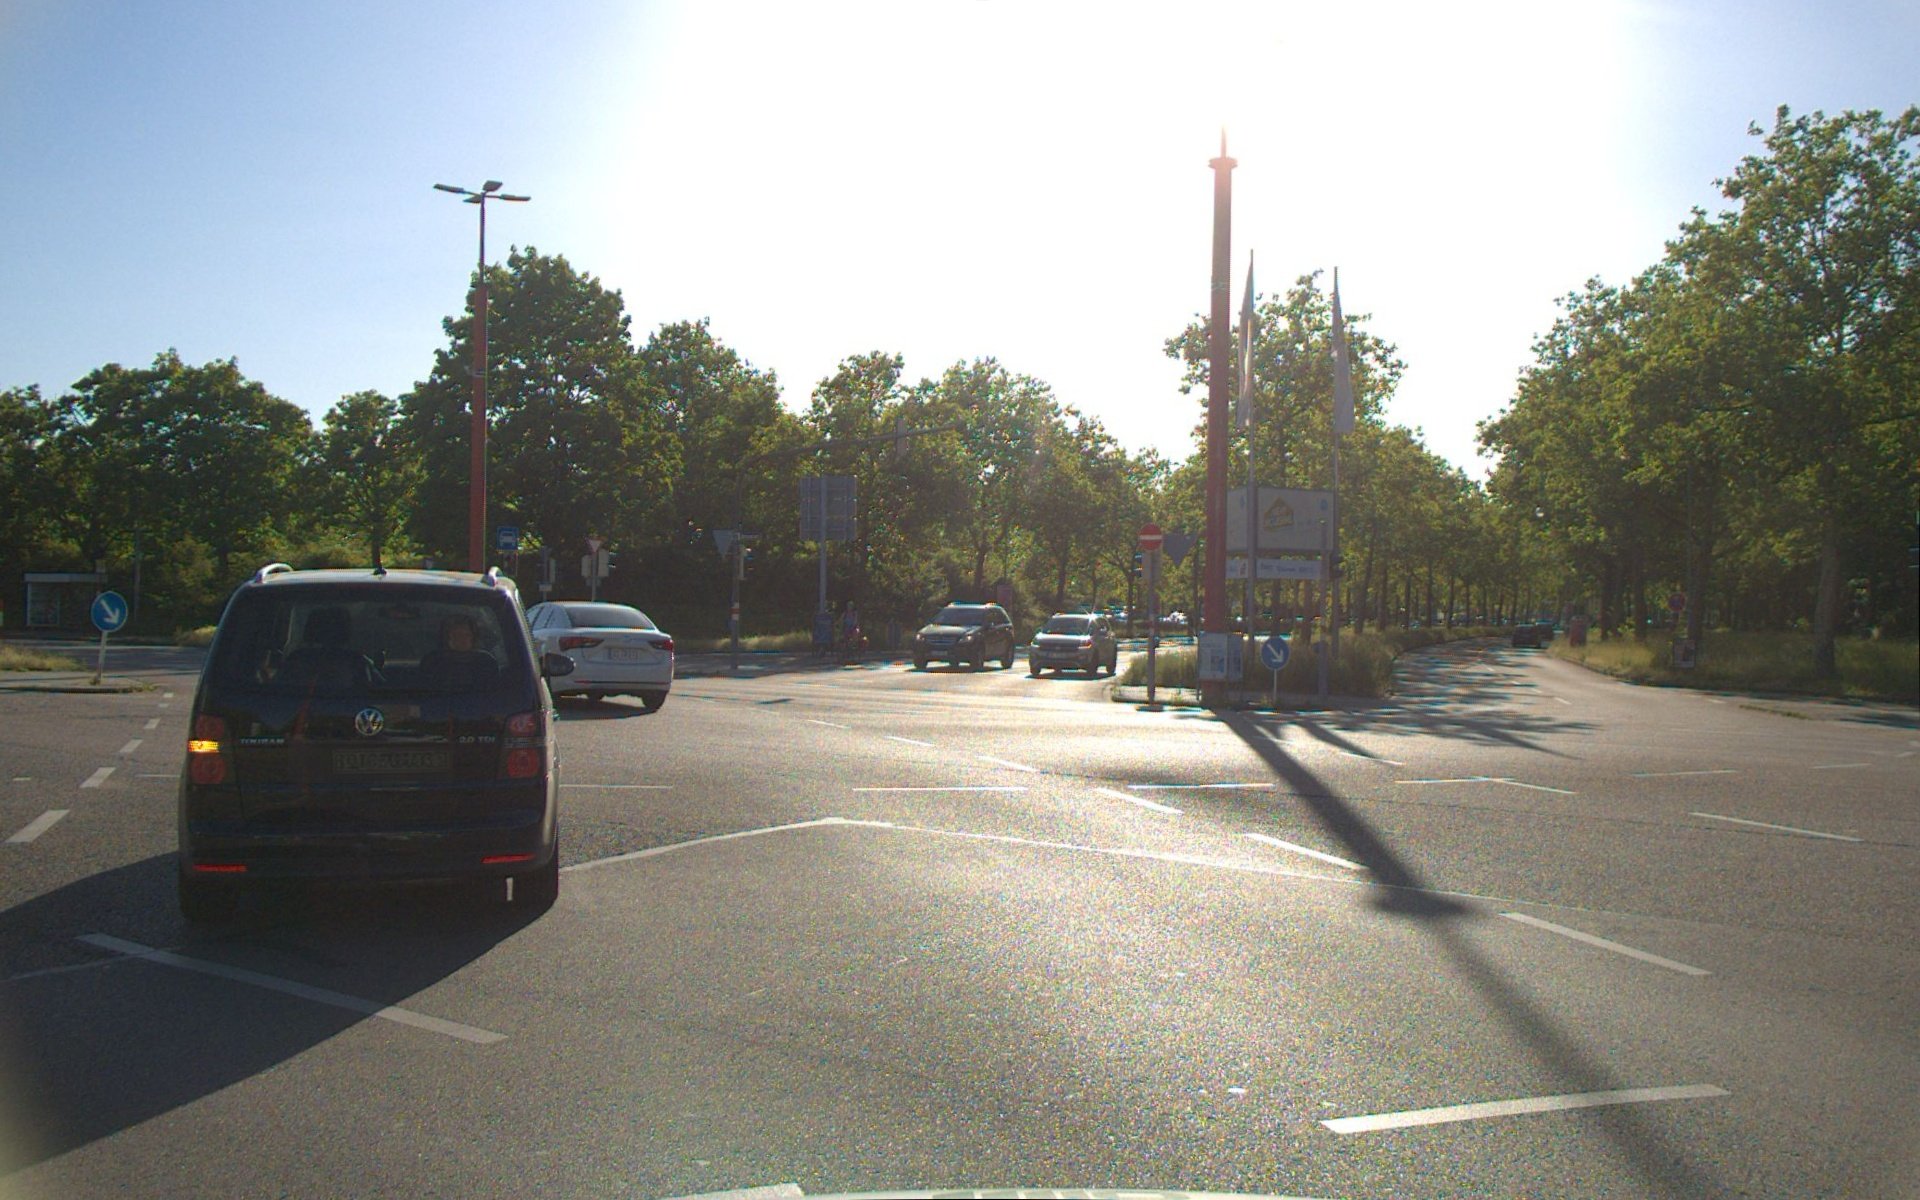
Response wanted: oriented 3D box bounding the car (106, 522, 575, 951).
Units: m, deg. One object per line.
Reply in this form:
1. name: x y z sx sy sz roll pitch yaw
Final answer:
1. car: -3.031 0.543 9.048 1.737 1.673 4.906 1 0 -13

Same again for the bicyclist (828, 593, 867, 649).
1. bicyclist: -3.246 0.587 47.710 0.744 1.585 0.980 0 0 25

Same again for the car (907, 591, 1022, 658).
1. car: 0.197 0.668 46.765 1.862 1.757 4.655 1 0 18

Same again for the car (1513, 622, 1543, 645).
1. car: 37.184 2.186 108.332 1.752 1.412 4.051 2 0 19

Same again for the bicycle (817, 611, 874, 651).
1. bicycle: -3.287 0.887 47.637 0.748 1.110 2.014 1 0 25

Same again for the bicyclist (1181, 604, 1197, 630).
1. bicyclist: 13.378 0.997 96.478 0.720 1.462 0.965 1 -1 22

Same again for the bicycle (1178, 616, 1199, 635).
1. bicycle: 13.332 1.487 96.372 0.720 1.110 2.015 1 -1 22

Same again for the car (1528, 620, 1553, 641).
1. car: 48.736 2.571 138.718 1.834 1.655 4.000 2 -1 21

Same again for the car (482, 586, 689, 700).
1. car: -5.572 0.572 24.232 1.749 1.489 4.322 1 0 -30

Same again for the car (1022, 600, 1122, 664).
1. car: 3.016 0.826 43.866 1.730 1.565 4.093 1 0 17
